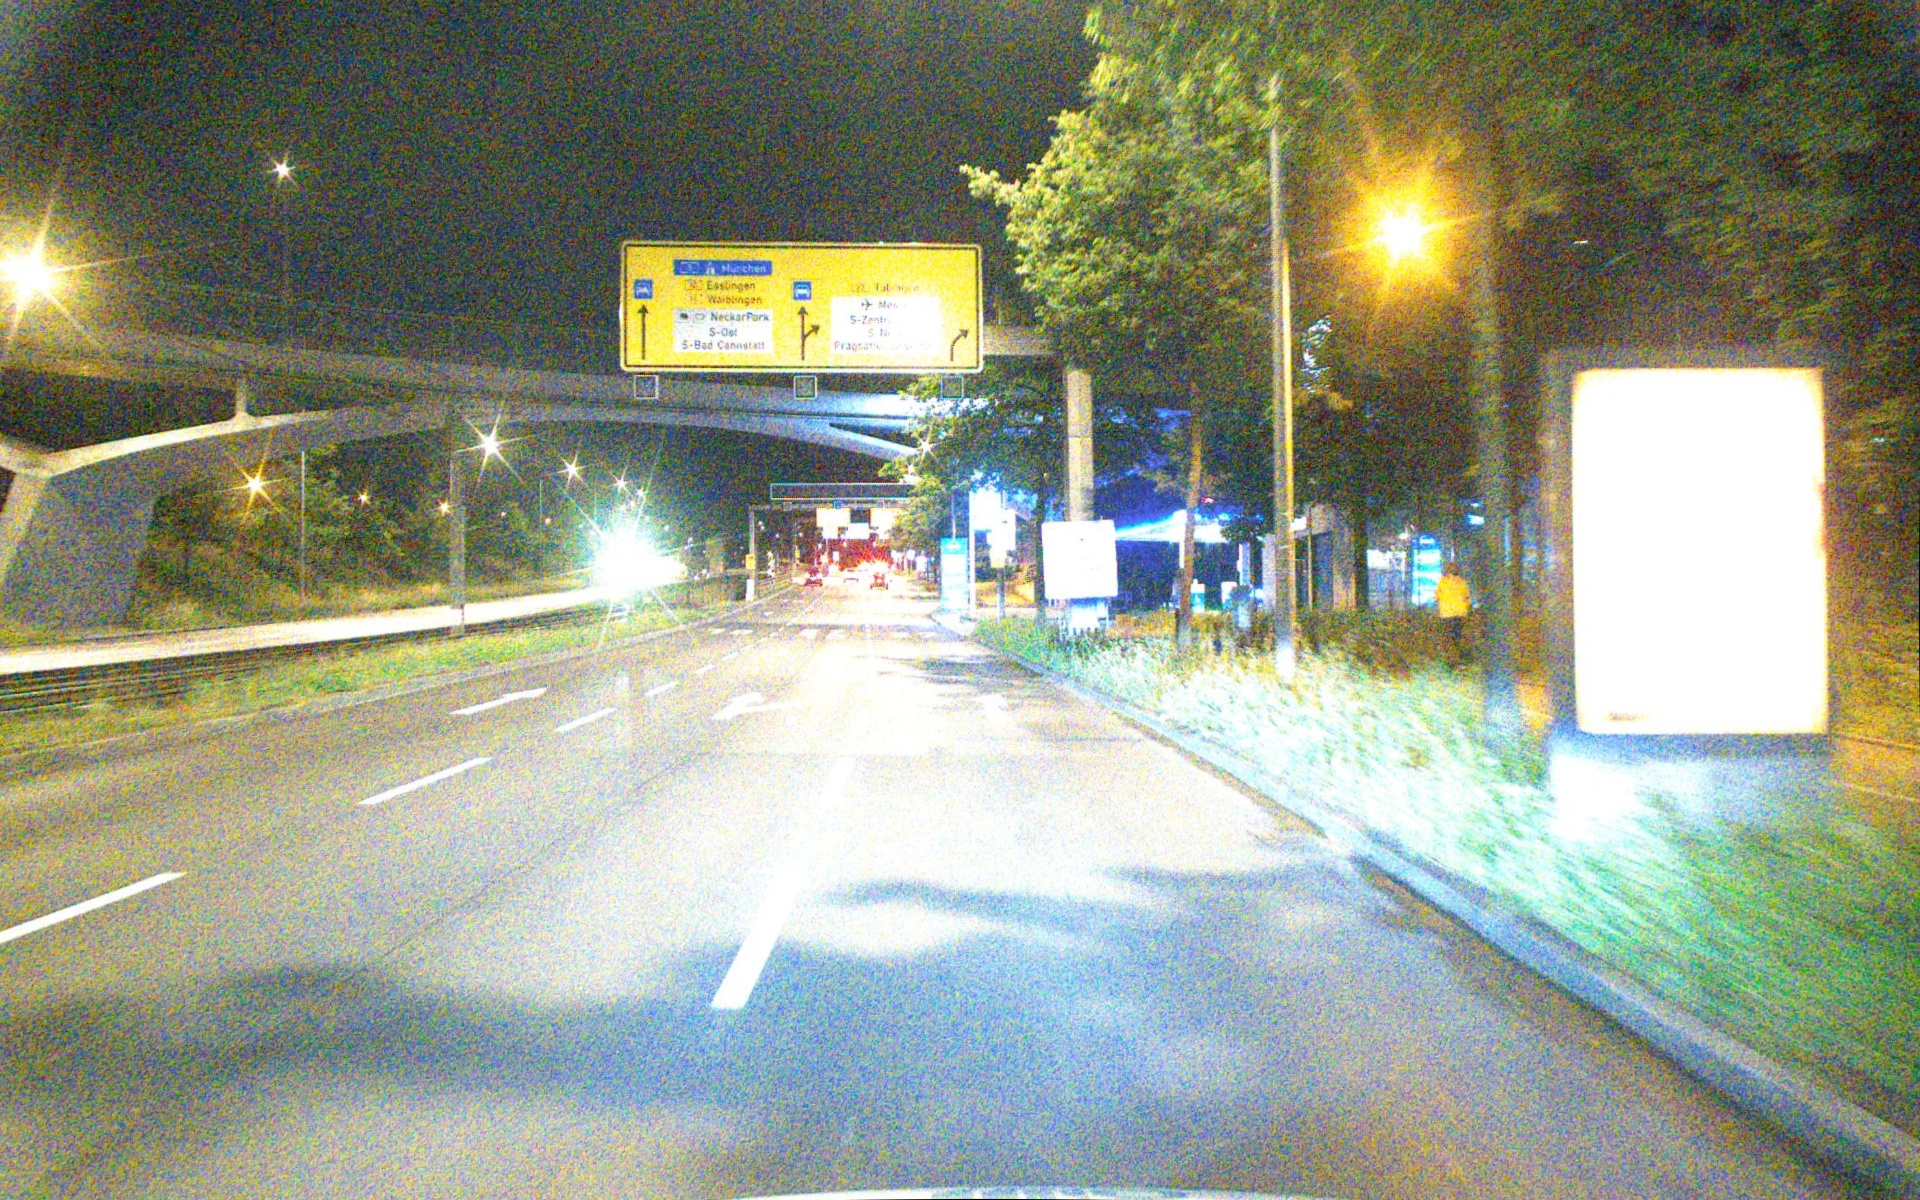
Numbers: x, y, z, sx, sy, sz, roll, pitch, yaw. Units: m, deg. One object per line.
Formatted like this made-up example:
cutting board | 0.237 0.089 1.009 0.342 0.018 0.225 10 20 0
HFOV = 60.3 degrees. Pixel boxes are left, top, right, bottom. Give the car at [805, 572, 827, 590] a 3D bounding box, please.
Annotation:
car | -14.443 -1.906 166.060 1.928 1.741 3.999 1 0 -1

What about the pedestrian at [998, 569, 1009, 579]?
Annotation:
pedestrian | 4.634 -2.801 176.710 0.896 1.056 0.768 -1 0 40

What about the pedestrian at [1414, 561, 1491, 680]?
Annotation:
pedestrian | 7.356 0.302 24.740 0.835 1.737 0.957 0 0 -3

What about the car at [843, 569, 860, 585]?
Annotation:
car | -12.660 -2.706 193.543 1.746 1.741 3.999 1 0 -1

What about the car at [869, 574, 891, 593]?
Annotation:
car | -7.668 -1.580 159.185 1.928 1.741 3.999 1 0 -1

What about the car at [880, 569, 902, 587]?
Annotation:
car | -8.484 -2.724 204.863 2.597 2.049 5.298 1 0 -1

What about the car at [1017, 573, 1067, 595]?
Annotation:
car | 6.350 -1.219 128.547 3.652 1.515 1.740 -2 0 -5

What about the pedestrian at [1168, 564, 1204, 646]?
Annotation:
pedestrian | 5.557 0.119 40.710 0.787 1.946 0.794 -3 0 6
